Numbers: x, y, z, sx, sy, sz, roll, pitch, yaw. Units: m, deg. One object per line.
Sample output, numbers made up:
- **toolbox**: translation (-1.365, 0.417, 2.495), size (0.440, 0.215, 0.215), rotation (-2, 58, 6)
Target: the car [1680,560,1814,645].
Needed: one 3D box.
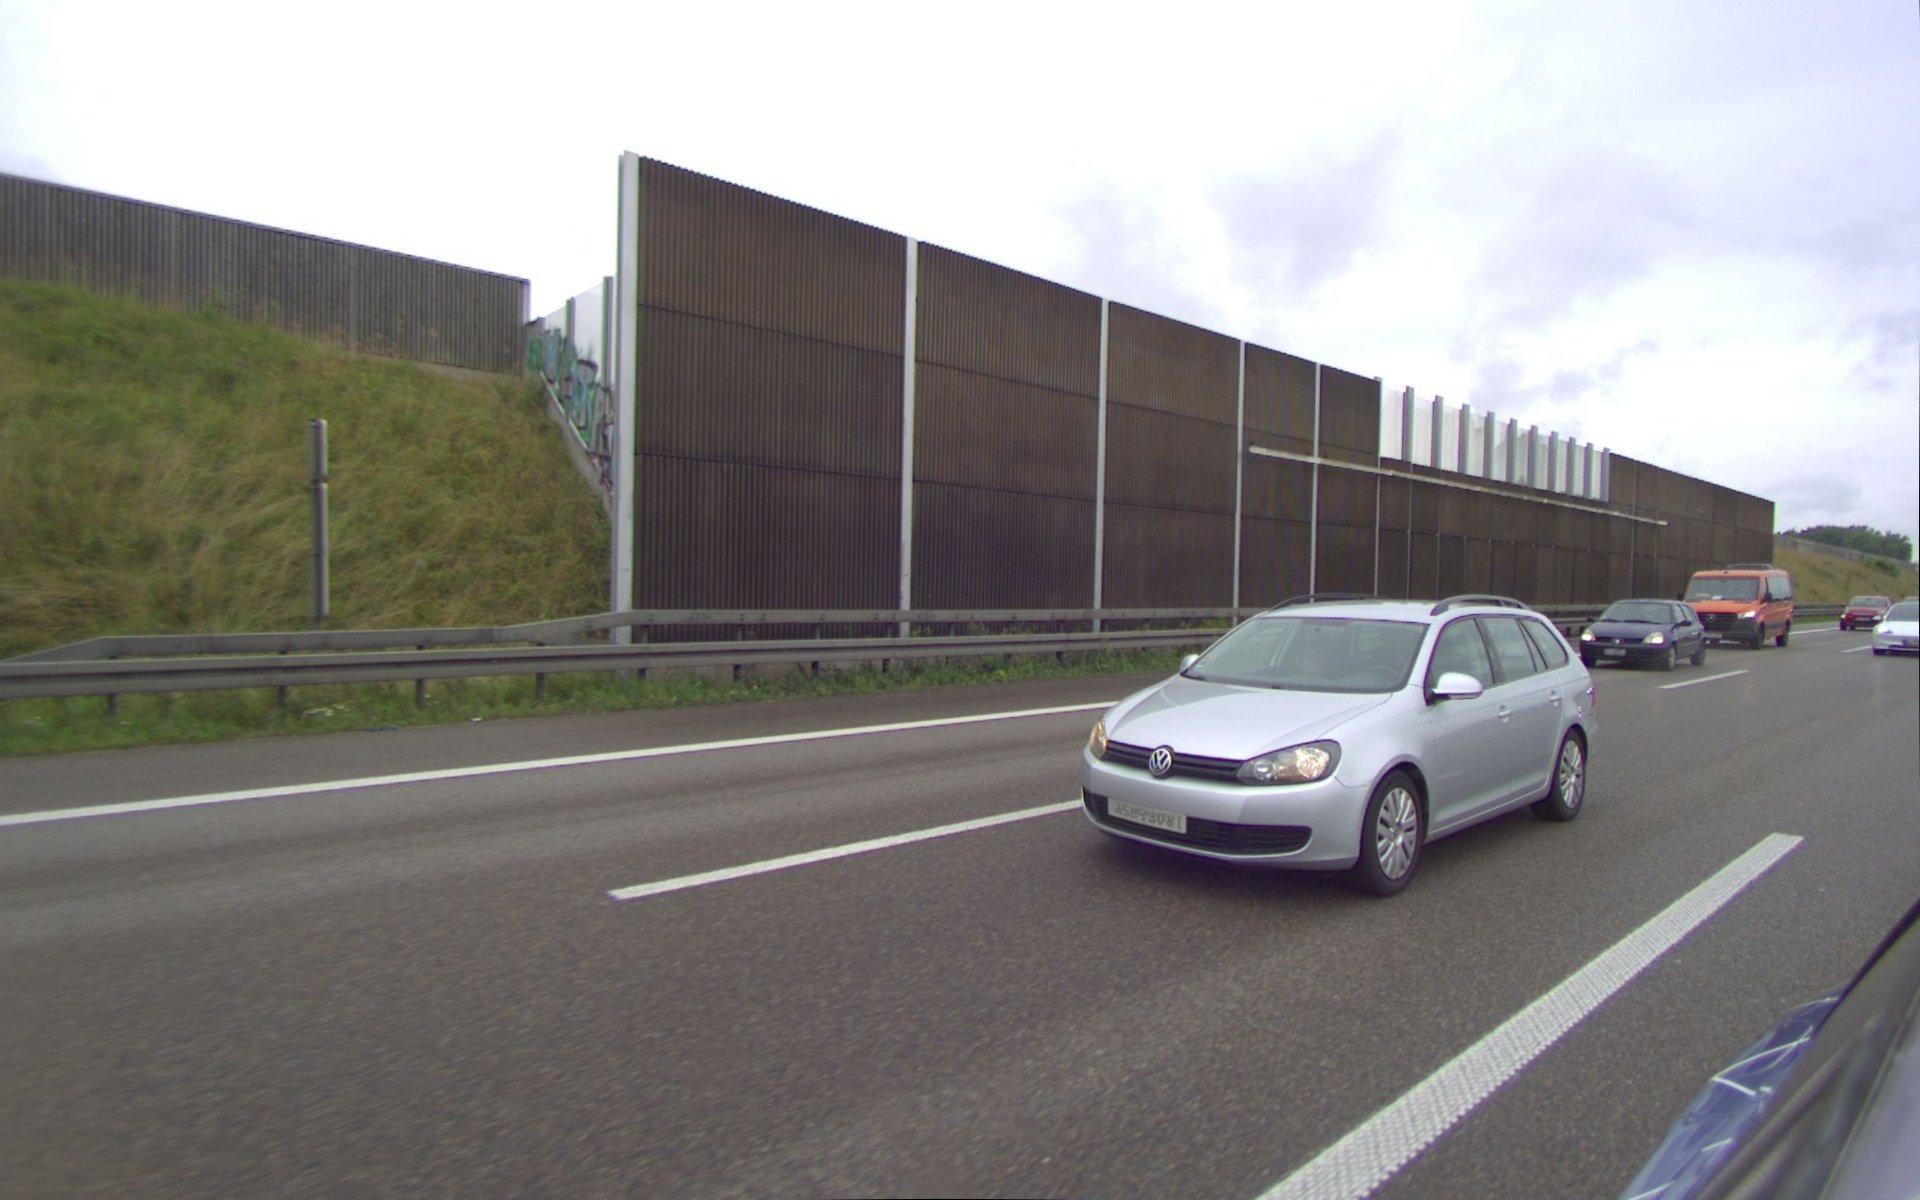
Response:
- **car**: translation (24.069, 0.049, 30.856), size (6.073, 2.344, 2.089), rotation (0, 1, -41)

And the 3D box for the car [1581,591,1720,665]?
- **car**: translation (14.920, 0.546, 21.798), size (3.810, 1.419, 1.704), rotation (-1, 0, -43)

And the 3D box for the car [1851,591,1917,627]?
- **car**: translation (42.954, 0.405, 47.021), size (3.932, 1.554, 1.876), rotation (-1, 0, -42)

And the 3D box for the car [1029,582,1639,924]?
- **car**: translation (2.624, 0.628, 6.449), size (4.438, 1.442, 1.745), rotation (0, 2, -41)

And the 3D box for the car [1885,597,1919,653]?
- **car**: translation (26.662, 0.637, 27.439), size (4.730, 1.380, 1.876), rotation (-1, 0, -42)
